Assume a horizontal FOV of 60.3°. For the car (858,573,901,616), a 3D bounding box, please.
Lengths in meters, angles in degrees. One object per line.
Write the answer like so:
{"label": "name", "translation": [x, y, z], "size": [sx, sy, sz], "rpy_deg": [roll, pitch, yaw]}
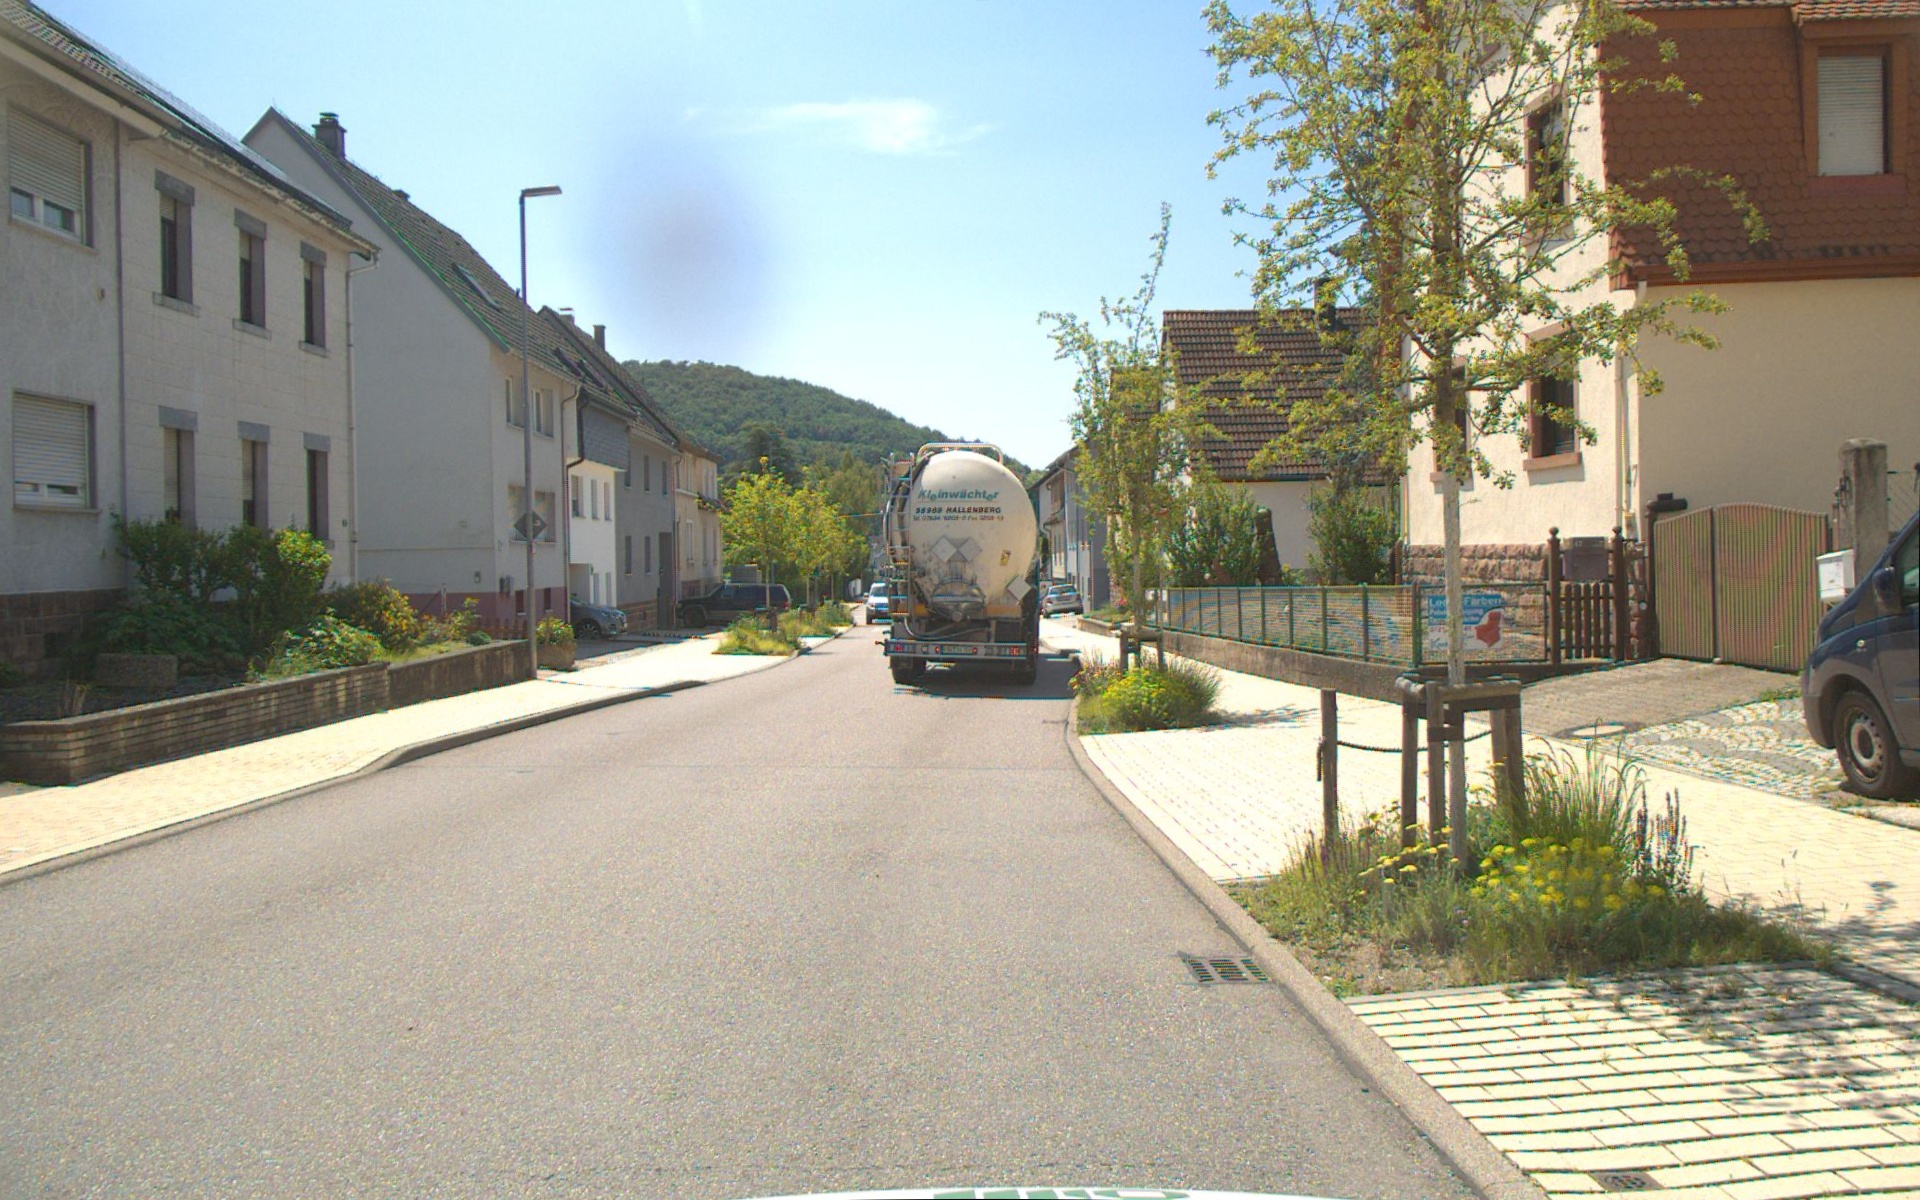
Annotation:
{"label": "car", "translation": [-3.689, -0.252, 76.516], "size": [1.851, 1.893, 4.576], "rpy_deg": [1, 0, -1]}

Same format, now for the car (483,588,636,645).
{"label": "car", "translation": [-11.373, 0.465, 47.102], "size": [3.906, 1.572, 1.832], "rpy_deg": [0, 0, -1]}

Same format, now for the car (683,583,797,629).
{"label": "car", "translation": [-8.730, 0.231, 65.905], "size": [4.306, 1.781, 1.877], "rpy_deg": [-1, 0, -2]}

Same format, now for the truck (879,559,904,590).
{"label": "truck", "translation": [-7.949, -2.936, 192.549], "size": [2.673, 3.430, 8.632], "rpy_deg": [0, 1, -1]}

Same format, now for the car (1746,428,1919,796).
{"label": "car", "translation": [6.124, -0.006, 8.336], "size": [1.815, 2.005, 4.772], "rpy_deg": [-5, 0, -1]}

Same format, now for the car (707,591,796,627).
{"label": "car", "translation": [-8.831, 0.376, 70.062], "size": [3.477, 1.464, 1.694], "rpy_deg": [-1, 0, 33]}

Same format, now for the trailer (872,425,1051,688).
{"label": "trailer", "translation": [0.199, -0.694, 30.934], "size": [2.738, 4.071, 10.326], "rpy_deg": [1, 0, 2]}

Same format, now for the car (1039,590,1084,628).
{"label": "car", "translation": [4.688, 0.392, 76.660], "size": [1.754, 1.568, 4.519], "rpy_deg": [-4, 0, 0]}

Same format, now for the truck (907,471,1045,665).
{"label": "truck", "translation": [0.476, -0.676, 37.423], "size": [2.749, 4.006, 6.102], "rpy_deg": [1, 0, 4]}
